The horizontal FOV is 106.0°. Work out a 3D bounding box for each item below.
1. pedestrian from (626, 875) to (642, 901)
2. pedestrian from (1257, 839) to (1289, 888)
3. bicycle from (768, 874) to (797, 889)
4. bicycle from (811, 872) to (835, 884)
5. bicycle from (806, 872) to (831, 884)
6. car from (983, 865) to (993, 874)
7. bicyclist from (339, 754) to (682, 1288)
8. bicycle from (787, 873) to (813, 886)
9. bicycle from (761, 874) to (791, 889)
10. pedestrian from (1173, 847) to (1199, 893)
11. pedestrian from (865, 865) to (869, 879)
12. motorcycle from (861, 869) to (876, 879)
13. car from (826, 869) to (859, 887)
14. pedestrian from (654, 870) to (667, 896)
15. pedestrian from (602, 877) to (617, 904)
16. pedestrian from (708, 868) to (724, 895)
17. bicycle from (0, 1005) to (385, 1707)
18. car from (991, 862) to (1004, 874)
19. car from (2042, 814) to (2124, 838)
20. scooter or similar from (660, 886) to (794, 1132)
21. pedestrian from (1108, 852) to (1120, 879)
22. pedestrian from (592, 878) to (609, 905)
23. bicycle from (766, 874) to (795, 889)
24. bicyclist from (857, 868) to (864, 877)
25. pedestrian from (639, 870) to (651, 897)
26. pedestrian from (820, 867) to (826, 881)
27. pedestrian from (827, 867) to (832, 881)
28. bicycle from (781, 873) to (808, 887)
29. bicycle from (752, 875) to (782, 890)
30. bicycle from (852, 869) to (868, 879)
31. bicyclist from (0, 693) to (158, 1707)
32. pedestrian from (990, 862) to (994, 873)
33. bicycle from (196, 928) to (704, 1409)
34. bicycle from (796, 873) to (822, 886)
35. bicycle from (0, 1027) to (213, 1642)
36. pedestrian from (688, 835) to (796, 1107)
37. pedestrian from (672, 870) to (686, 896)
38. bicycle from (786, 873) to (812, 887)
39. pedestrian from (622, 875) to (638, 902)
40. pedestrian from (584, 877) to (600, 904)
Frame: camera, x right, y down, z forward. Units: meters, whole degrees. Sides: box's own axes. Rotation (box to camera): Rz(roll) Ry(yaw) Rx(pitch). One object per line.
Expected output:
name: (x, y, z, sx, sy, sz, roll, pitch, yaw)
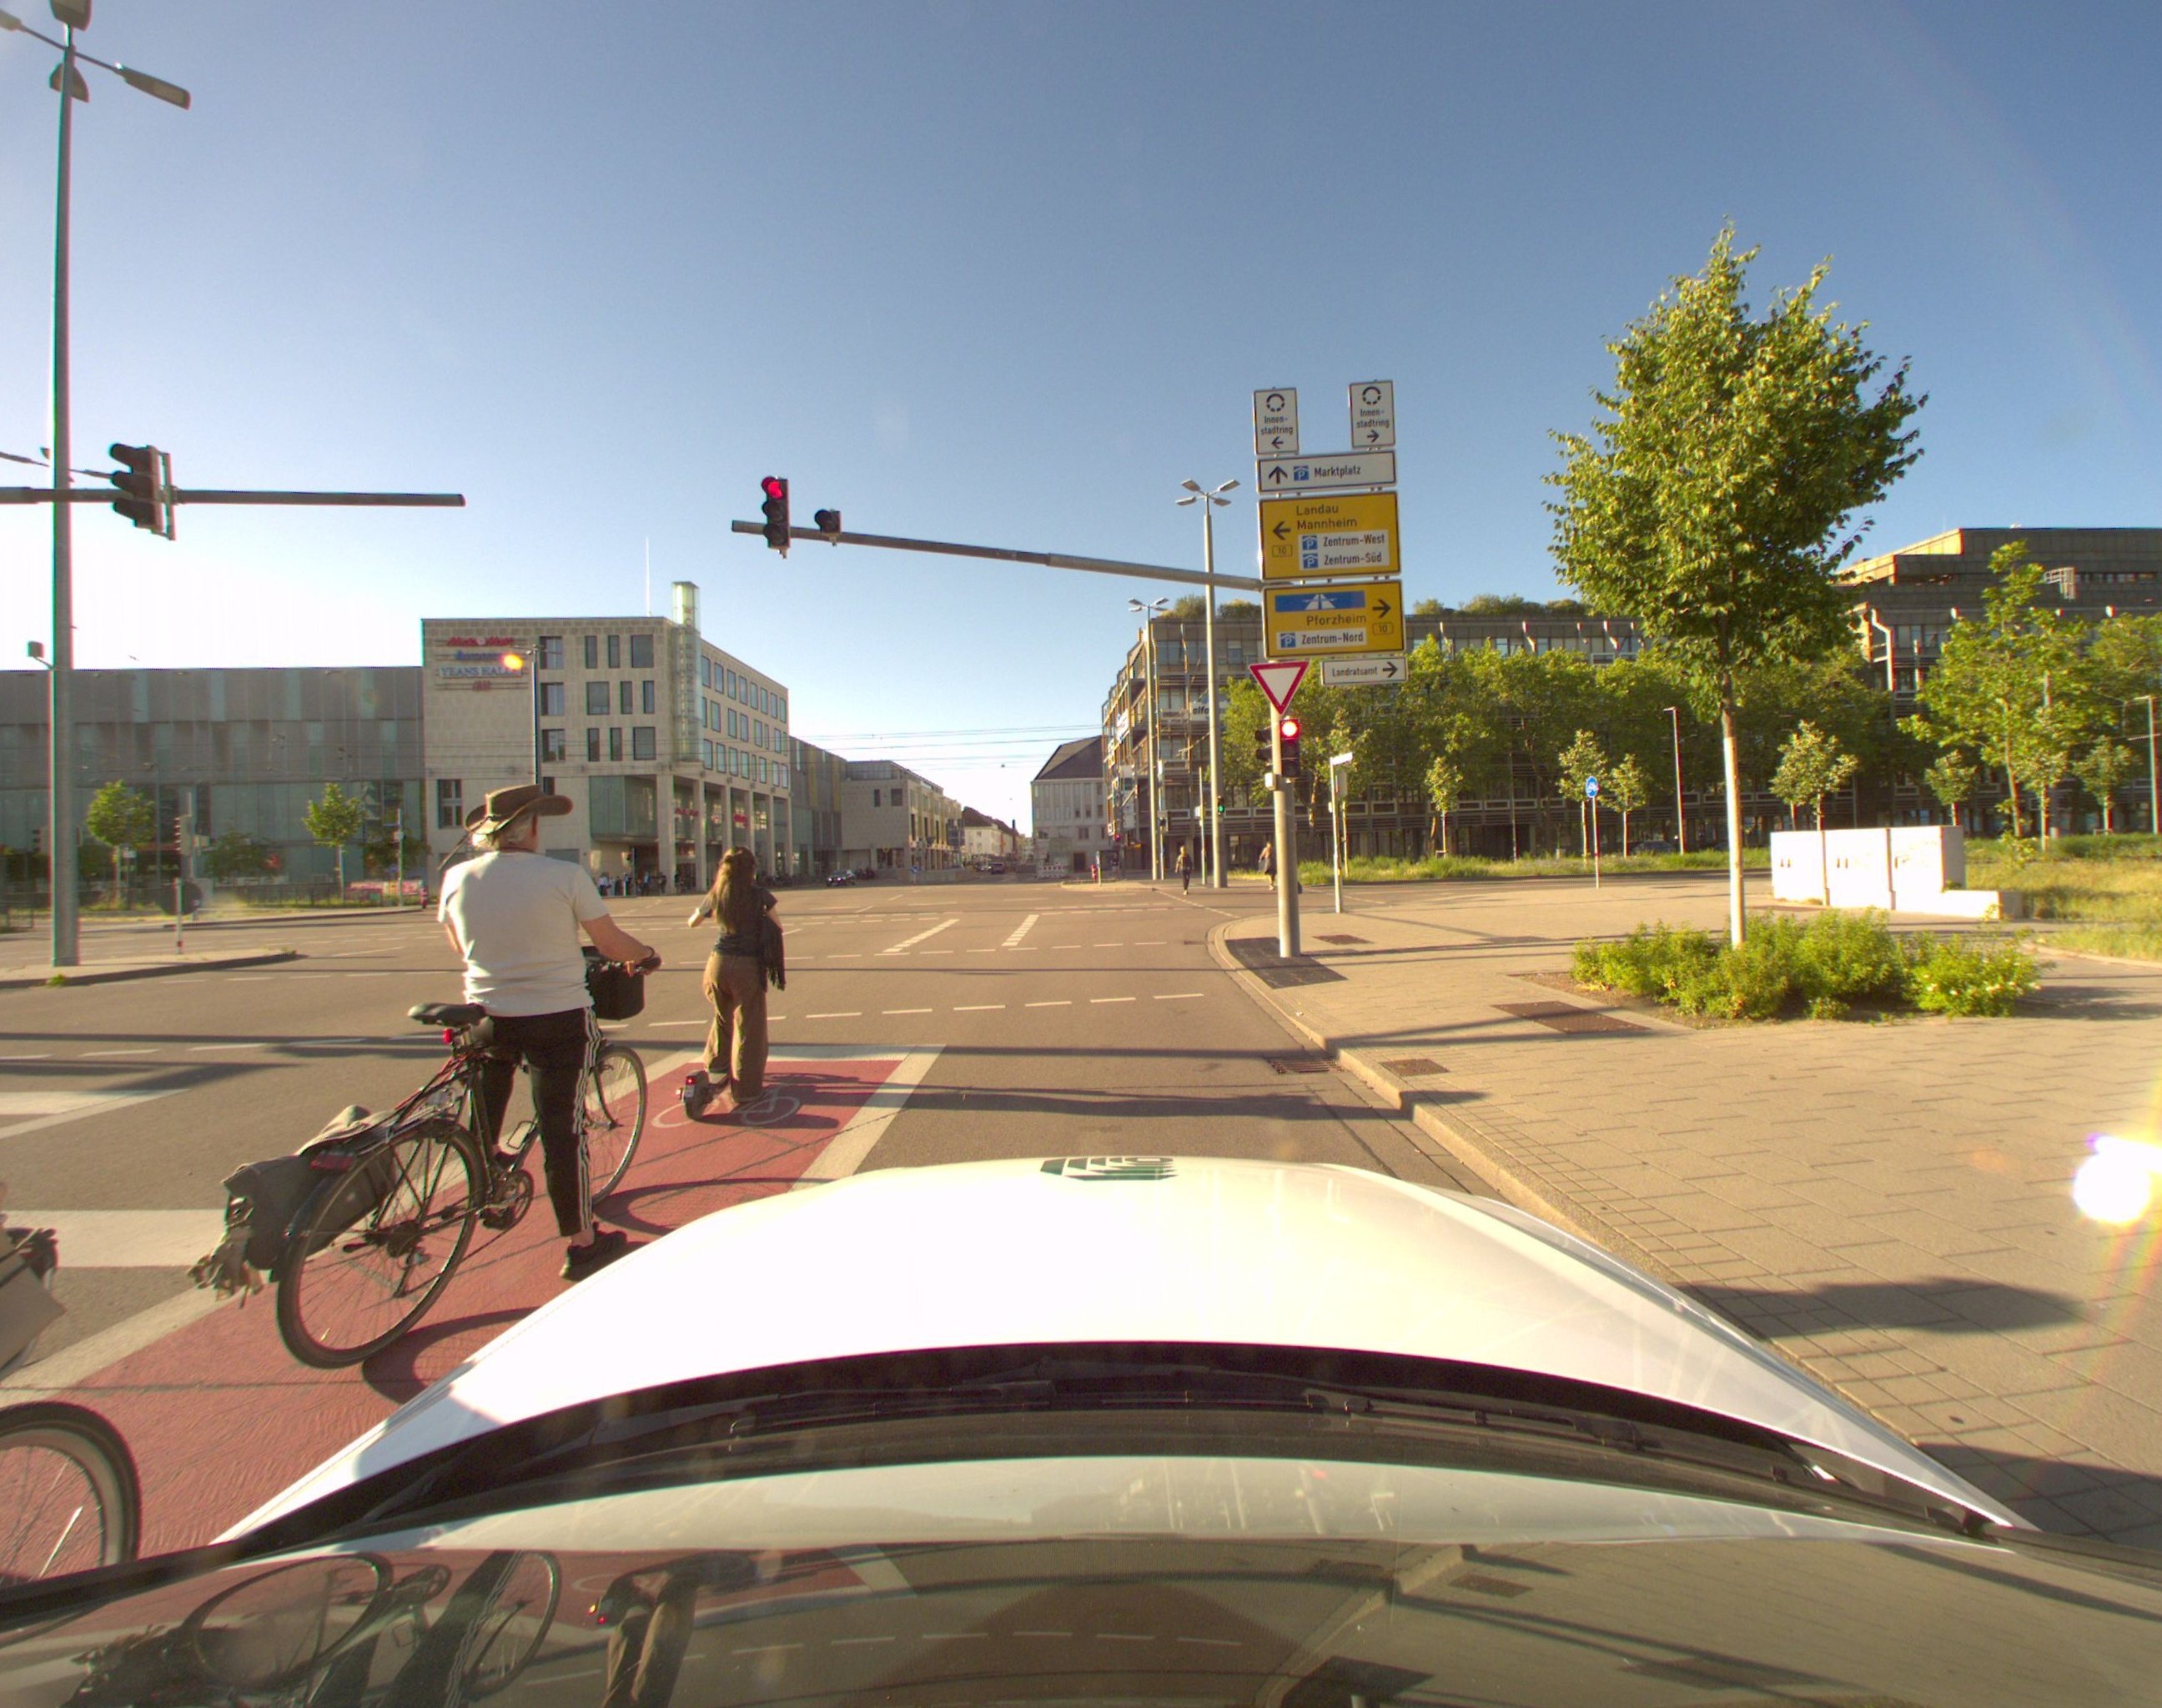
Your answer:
pedestrian: (-32.512, 2.466, 59.246, 0.783, 1.885, 0.716, 0, -1, -4)
pedestrian: (6.630, 0.326, 28.148, 0.875, 1.665, 0.965, 0, -1, 1)
bicycle: (-26.740, 2.435, 72.898, 2.299, 1.222, 0.612, -2, -1, -1)
bicycle: (-27.423, 2.555, 86.649, 2.299, 1.222, 0.612, -2, -1, -1)
bicycle: (-27.588, 2.547, 85.584, 2.299, 1.222, 0.612, -2, -1, -1)
car: (-18.484, 3.073, 161.982, 1.793, 1.657, 3.997, 0, -1, -2)
bicyclist: (-2.054, 0.541, 3.064, 0.658, 1.720, 0.866, 0, -1, 1)
bicycle: (-27.629, 2.502, 80.128, 2.299, 1.222, 0.612, -2, -1, -1)
bicycle: (-26.462, 2.415, 70.654, 2.299, 1.222, 0.612, -2, -1, -1)
pedestrian: (3.433, 0.519, 26.615, 0.785, 1.492, 0.644, 0, -1, 1)
pedestrian: (-26.102, 2.191, 99.358, 0.521, 1.679, 0.580, 0, 0, -12)
motorcycle: (-25.781, 2.430, 98.741, 1.807, 1.206, 0.509, 0, 0, -14)
car: (-20.624, 2.049, 70.510, 1.625, 1.342, 3.999, -4, -1, 0)
pedestrian: (-30.791, 2.116, 59.668, 0.800, 1.843, 0.856, -2, 0, -26)
pedestrian: (-33.991, 2.623, 58.722, 0.714, 1.885, 0.786, 0, -1, -6)
pedestrian: (-27.297, 2.058, 60.914, 0.883, 2.014, 0.771, 0, -1, -9)
bicycle: (-1.675, 0.911, 0.684, 0.614, 1.218, 1.831, 0, 0, -1)
car: (-11.138, 1.858, 108.658, 1.735, 1.531, 3.848, 0, -1, -5)
car: (68.886, -1.924, 56.006, 3.984, 1.342, 1.631, -4, -1, -7)
scooter or similar: (-2.155, 0.868, 5.077, 0.547, 1.294, 1.188, 0, -1, -13)
pedestrian: (2.325, 0.812, 57.415, 0.785, 1.890, 0.644, 0, -1, 1)
pedestrian: (-33.868, 2.611, 57.375, 0.783, 1.885, 0.716, 0, -1, -4)
bicycle: (-26.564, 2.427, 72.013, 2.299, 1.222, 0.612, -2, -1, -1)
bicyclist: (-25.909, 2.143, 95.503, 0.628, 1.084, 0.505, 0, 0, -43)
pedestrian: (-31.148, 2.116, 58.237, 0.718, 1.885, 0.781, 0, -1, -25)
pedestrian: (-31.021, 2.374, 98.011, 0.570, 1.679, 0.614, 0, 0, -8)
pedestrian: (-30.355, 2.369, 98.245, 0.553, 1.679, 0.606, 0, 0, -8)
bicycle: (-26.696, 2.460, 75.966, 2.299, 1.222, 0.612, -2, -1, -1)
bicycle: (-26.733, 2.406, 69.377, 2.299, 1.222, 0.612, -2, -1, -1)
bicycle: (-25.912, 2.327, 95.457, 1.820, 1.206, 0.506, -1, 0, -41)
bicyclist: (-1.676, 0.589, 0.753, 0.639, 1.579, 0.875, 0, 0, -1)
pedestrian: (-12.823, 1.942, 117.511, 0.520, 1.679, 0.582, 0, 0, -5)
bicycle: (-2.146, 0.940, 3.141, 0.483, 1.156, 1.832, 0, -1, 2)
bicycle: (-27.185, 2.509, 81.345, 2.299, 1.222, 0.612, -2, -1, -1)
bicycle: (-2.420, 0.979, 0.983, 0.645, 1.109, 1.970, 0, 0, -1)
pedestrian: (-2.161, 0.703, 5.246, 0.549, 1.633, 0.569, 0, -1, -13)
pedestrian: (-29.105, 2.064, 58.942, 0.801, 1.843, 0.855, -2, 0, -30)
bicycle: (-27.062, 2.481, 78.134, 2.299, 1.222, 0.612, -2, -1, -1)
pedestrian: (-31.945, 2.449, 57.694, 0.783, 1.885, 0.716, 0, -1, -4)
pedestrian: (-35.065, 2.596, 58.410, 0.783, 1.885, 0.716, 0, -1, -4)
